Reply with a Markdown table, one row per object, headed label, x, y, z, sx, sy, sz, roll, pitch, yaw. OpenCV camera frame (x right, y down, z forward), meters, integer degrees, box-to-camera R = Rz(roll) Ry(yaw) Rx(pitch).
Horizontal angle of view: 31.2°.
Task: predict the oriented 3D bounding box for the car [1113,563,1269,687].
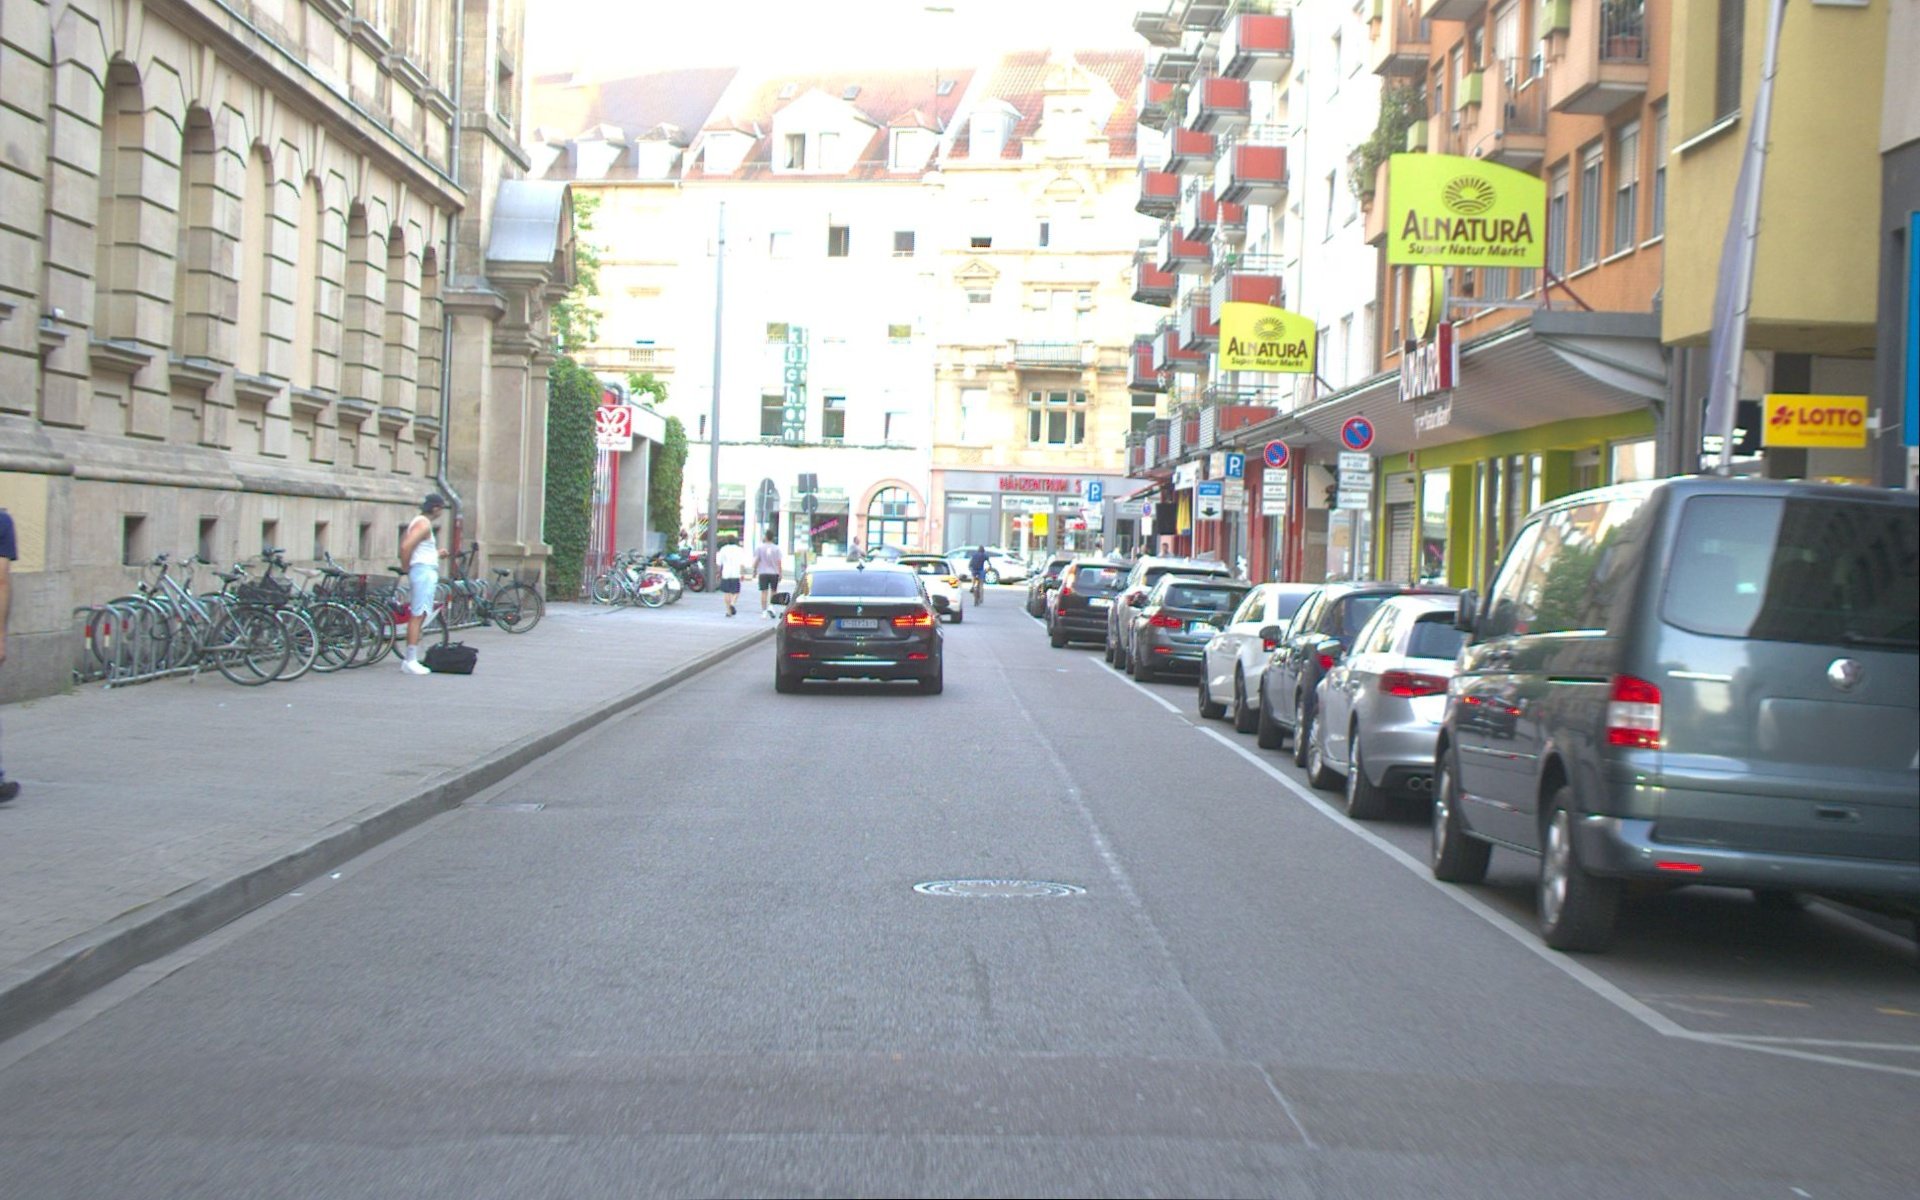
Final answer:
| label | x | y | z | sx | sy | sz | roll | pitch | yaw |
| --- | --- | --- | --- | --- | --- | --- | --- | --- | --- |
| car | 3.032 | 0.294 | 45.996 | 1.691 | 1.410 | 4.756 | 4 | 1 | 0 |

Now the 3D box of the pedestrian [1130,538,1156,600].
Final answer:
| label | x | y | z | sx | sy | sz | roll | pitch | yaw |
| --- | --- | --- | --- | --- | --- | --- | --- | --- | --- |
| pedestrian | 4.955 | -0.842 | 93.013 | 0.648 | 1.655 | 0.655 | -1 | 1 | 2 |

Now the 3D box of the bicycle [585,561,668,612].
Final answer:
| label | x | y | z | sx | sy | sz | roll | pitch | yaw |
| --- | --- | --- | --- | --- | --- | --- | --- | --- | --- |
| bicycle | -7.594 | -0.307 | 78.326 | 1.794 | 1.104 | 0.500 | 2 | 1 | 0 |

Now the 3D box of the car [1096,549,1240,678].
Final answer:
| label | x | y | z | sx | sy | sz | roll | pitch | yaw |
| --- | --- | --- | --- | --- | --- | --- | --- | --- | --- |
| car | 3.028 | 0.154 | 50.964 | 1.752 | 1.662 | 4.756 | 4 | 1 | 0 |

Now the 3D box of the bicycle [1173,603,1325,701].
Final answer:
| label | x | y | z | sx | sy | sz | roll | pitch | yaw |
| --- | --- | --- | --- | --- | --- | --- | --- | --- | --- |
| bicycle | 3.295 | 0.598 | 39.150 | 1.732 | 1.052 | 0.659 | 2 | 1 | -42 |

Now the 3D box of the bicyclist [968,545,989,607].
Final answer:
| label | x | y | z | sx | sy | sz | roll | pitch | yaw |
| --- | --- | --- | --- | --- | --- | --- | --- | --- | --- |
| bicyclist | 0.540 | -0.688 | 98.070 | 0.523 | 1.750 | 0.620 | 2 | 1 | 1 |

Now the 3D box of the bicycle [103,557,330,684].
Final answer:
| label | x | y | z | sx | sy | sz | roll | pitch | yaw |
| --- | --- | --- | --- | --- | --- | --- | --- | --- | --- |
| bicycle | -6.853 | 0.187 | 31.763 | 1.937 | 1.058 | 0.620 | 3 | 0 | -6 |

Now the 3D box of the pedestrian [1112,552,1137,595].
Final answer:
| label | x | y | z | sx | sy | sz | roll | pitch | yaw |
| --- | --- | --- | --- | --- | --- | --- | --- | --- | --- |
| pedestrian | 4.948 | -0.810 | 103.390 | 0.687 | 1.282 | 0.608 | 0 | 0 | 9 |

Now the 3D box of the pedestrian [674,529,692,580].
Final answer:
| label | x | y | z | sx | sy | sz | roll | pitch | yaw |
| --- | --- | --- | --- | --- | --- | --- | --- | --- | --- |
| pedestrian | -8.988 | -1.489 | 111.412 | 0.500 | 1.637 | 0.520 | 1 | 1 | 2 |

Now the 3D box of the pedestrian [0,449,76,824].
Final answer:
| label | x | y | z | sx | sy | sz | roll | pitch | yaw |
| --- | --- | --- | --- | --- | --- | --- | --- | --- | --- |
| pedestrian | -4.818 | 0.148 | 16.499 | 0.809 | 1.744 | 0.969 | 3 | 0 | 0 |

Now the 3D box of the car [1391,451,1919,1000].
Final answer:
| label | x | y | z | sx | sy | sz | roll | pitch | yaw |
| --- | --- | --- | --- | --- | --- | --- | --- | --- | --- |
| car | 3.313 | 0.479 | 15.766 | 1.846 | 2.051 | 5.054 | 3 | 0 | -1 |

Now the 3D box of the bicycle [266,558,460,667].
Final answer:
| label | x | y | z | sx | sy | sz | roll | pitch | yaw |
| --- | --- | --- | --- | --- | --- | --- | --- | --- | --- |
| bicycle | -6.421 | 0.139 | 37.040 | 1.937 | 1.058 | 0.620 | 3 | 0 | -2 |

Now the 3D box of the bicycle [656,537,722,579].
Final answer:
| label | x | y | z | sx | sy | sz | roll | pitch | yaw |
| --- | --- | --- | --- | --- | --- | --- | --- | --- | --- |
| bicycle | -7.758 | -1.203 | 98.399 | 1.794 | 1.104 | 0.500 | 3 | 1 | -5 |

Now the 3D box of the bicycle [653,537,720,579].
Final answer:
| label | x | y | z | sx | sy | sz | roll | pitch | yaw |
| --- | --- | --- | --- | --- | --- | --- | --- | --- | --- |
| bicycle | -7.774 | -1.190 | 97.650 | 1.794 | 1.104 | 0.500 | 3 | 1 | 2 |

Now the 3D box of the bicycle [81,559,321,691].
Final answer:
| label | x | y | z | sx | sy | sz | roll | pitch | yaw |
| --- | --- | --- | --- | --- | --- | --- | --- | --- | --- |
| bicycle | -6.725 | 0.217 | 30.515 | 1.937 | 1.058 | 0.620 | 3 | 0 | -1 |

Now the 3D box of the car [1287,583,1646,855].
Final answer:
| label | x | y | z | sx | sy | sz | roll | pitch | yaw |
| --- | --- | --- | --- | --- | --- | --- | --- | --- | --- |
| car | 3.249 | 0.701 | 22.860 | 1.687 | 1.448 | 4.498 | 4 | 1 | 1 |

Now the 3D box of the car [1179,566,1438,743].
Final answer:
| label | x | y | z | sx | sy | sz | roll | pitch | yaw |
| --- | --- | --- | --- | --- | --- | --- | --- | --- | --- |
| car | 3.273 | 0.469 | 33.144 | 1.691 | 1.406 | 4.640 | 4 | 1 | -3 |

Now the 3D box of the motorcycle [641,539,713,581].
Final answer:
| label | x | y | z | sx | sy | sz | roll | pitch | yaw |
| --- | --- | --- | --- | --- | --- | --- | --- | --- | --- |
| motorcycle | -7.877 | -1.122 | 95.623 | 1.803 | 1.060 | 0.763 | 3 | 1 | 25 |

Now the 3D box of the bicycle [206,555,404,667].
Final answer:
| label | x | y | z | sx | sy | sz | roll | pitch | yaw |
| --- | --- | --- | --- | --- | --- | --- | --- | --- | --- |
| bicycle | -6.842 | 0.108 | 35.997 | 1.937 | 1.058 | 0.620 | 3 | 0 | -6 |

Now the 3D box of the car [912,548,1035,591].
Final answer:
| label | x | y | z | sx | sy | sz | roll | pitch | yaw |
| --- | --- | --- | --- | --- | --- | --- | --- | --- | --- |
| car | 0.523 | -1.191 | 133.667 | 4.357 | 1.557 | 1.866 | 2 | 0 | 22 |

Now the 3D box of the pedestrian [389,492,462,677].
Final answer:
| label | x | y | z | sx | sy | sz | roll | pitch | yaw |
| --- | --- | --- | --- | --- | --- | --- | --- | --- | --- |
| pedestrian | -5.475 | -0.168 | 35.256 | 0.588 | 1.845 | 0.754 | 4 | 1 | -6 |

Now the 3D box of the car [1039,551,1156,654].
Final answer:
| label | x | y | z | sx | sy | sz | roll | pitch | yaw |
| --- | --- | --- | --- | --- | --- | --- | --- | --- | --- |
| car | 2.450 | 0.011 | 60.211 | 1.794 | 1.604 | 4.486 | 4 | 1 | 4 |

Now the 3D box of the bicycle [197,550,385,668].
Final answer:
| label | x | y | z | sx | sy | sz | roll | pitch | yaw |
| --- | --- | --- | --- | --- | --- | --- | --- | --- | --- |
| bicycle | -6.842 | 0.094 | 35.182 | 1.794 | 1.104 | 0.500 | 3 | 0 | -6 |

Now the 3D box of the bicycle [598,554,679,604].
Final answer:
| label | x | y | z | sx | sy | sz | roll | pitch | yaw |
| --- | --- | --- | --- | --- | --- | --- | --- | --- | --- |
| bicycle | -7.554 | -0.491 | 80.846 | 1.794 | 1.104 | 0.500 | 3 | 1 | 3 |

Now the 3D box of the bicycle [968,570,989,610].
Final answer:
| label | x | y | z | sx | sy | sz | roll | pitch | yaw |
| --- | --- | --- | --- | --- | --- | --- | --- | --- | --- |
| bicycle | 0.524 | -0.293 | 98.097 | 0.536 | 1.104 | 1.800 | 2 | 1 | 0 |

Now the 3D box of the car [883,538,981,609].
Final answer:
| label | x | y | z | sx | sy | sz | roll | pitch | yaw |
| --- | --- | --- | --- | --- | --- | --- | --- | --- | --- |
| car | -0.588 | -0.598 | 75.750 | 1.878 | 1.468 | 4.000 | 1 | 1 | 3 |

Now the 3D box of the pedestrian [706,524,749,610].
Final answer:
| label | x | y | z | sx | sy | sz | roll | pitch | yaw |
| --- | --- | --- | --- | --- | --- | --- | --- | --- | --- |
| pedestrian | -5.049 | -0.726 | 74.703 | 0.741 | 1.806 | 1.009 | 4 | 1 | -1 |

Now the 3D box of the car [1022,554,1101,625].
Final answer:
| label | x | y | z | sx | sy | sz | roll | pitch | yaw |
| --- | --- | --- | --- | --- | --- | --- | --- | --- | --- |
| car | 2.618 | -0.307 | 89.700 | 1.765 | 1.636 | 4.791 | 4 | 1 | 0 |

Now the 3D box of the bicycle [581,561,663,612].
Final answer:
| label | x | y | z | sx | sy | sz | roll | pitch | yaw |
| --- | --- | --- | --- | --- | --- | --- | --- | --- | --- |
| bicycle | -7.725 | -0.314 | 78.672 | 1.794 | 1.104 | 0.500 | 2 | 1 | -1 |

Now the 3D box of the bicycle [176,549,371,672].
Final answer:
| label | x | y | z | sx | sy | sz | roll | pitch | yaw |
| --- | --- | --- | --- | --- | --- | --- | --- | --- | --- |
| bicycle | -6.779 | 0.101 | 33.982 | 1.794 | 1.104 | 0.500 | 3 | 0 | -6 |

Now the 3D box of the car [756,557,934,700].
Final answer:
| label | x | y | z | sx | sy | sz | roll | pitch | yaw |
| --- | --- | --- | --- | --- | --- | --- | --- | --- | --- |
| car | -1.219 | 0.268 | 38.336 | 1.765 | 1.370 | 4.791 | 3 | 1 | 0 |

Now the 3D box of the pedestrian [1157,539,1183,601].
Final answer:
| label | x | y | z | sx | sy | sz | roll | pitch | yaw |
| --- | --- | --- | --- | --- | --- | --- | --- | --- | --- |
| pedestrian | 5.678 | -0.824 | 92.955 | 0.648 | 1.655 | 0.794 | -1 | 1 | 2 |

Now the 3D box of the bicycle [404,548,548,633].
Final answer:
| label | x | y | z | sx | sy | sz | roll | pitch | yaw |
| --- | --- | --- | --- | --- | --- | --- | --- | --- | --- |
| bicycle | -7.026 | -0.139 | 49.903 | 1.936 | 1.058 | 0.620 | 5 | 0 | -15 |

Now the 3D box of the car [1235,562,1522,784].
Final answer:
| label | x | y | z | sx | sy | sz | roll | pitch | yaw |
| --- | --- | --- | --- | --- | --- | --- | --- | --- | --- |
| car | 3.319 | 0.525 | 27.972 | 1.618 | 1.511 | 4.174 | 4 | 1 | -2 |

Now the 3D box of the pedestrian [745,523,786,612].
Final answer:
| label | x | y | z | sx | sy | sz | roll | pitch | yaw |
| --- | --- | --- | --- | --- | --- | --- | --- | --- | --- |
| pedestrian | -4.244 | -0.715 | 75.068 | 0.744 | 1.887 | 1.050 | 3 | 1 | 0 |
